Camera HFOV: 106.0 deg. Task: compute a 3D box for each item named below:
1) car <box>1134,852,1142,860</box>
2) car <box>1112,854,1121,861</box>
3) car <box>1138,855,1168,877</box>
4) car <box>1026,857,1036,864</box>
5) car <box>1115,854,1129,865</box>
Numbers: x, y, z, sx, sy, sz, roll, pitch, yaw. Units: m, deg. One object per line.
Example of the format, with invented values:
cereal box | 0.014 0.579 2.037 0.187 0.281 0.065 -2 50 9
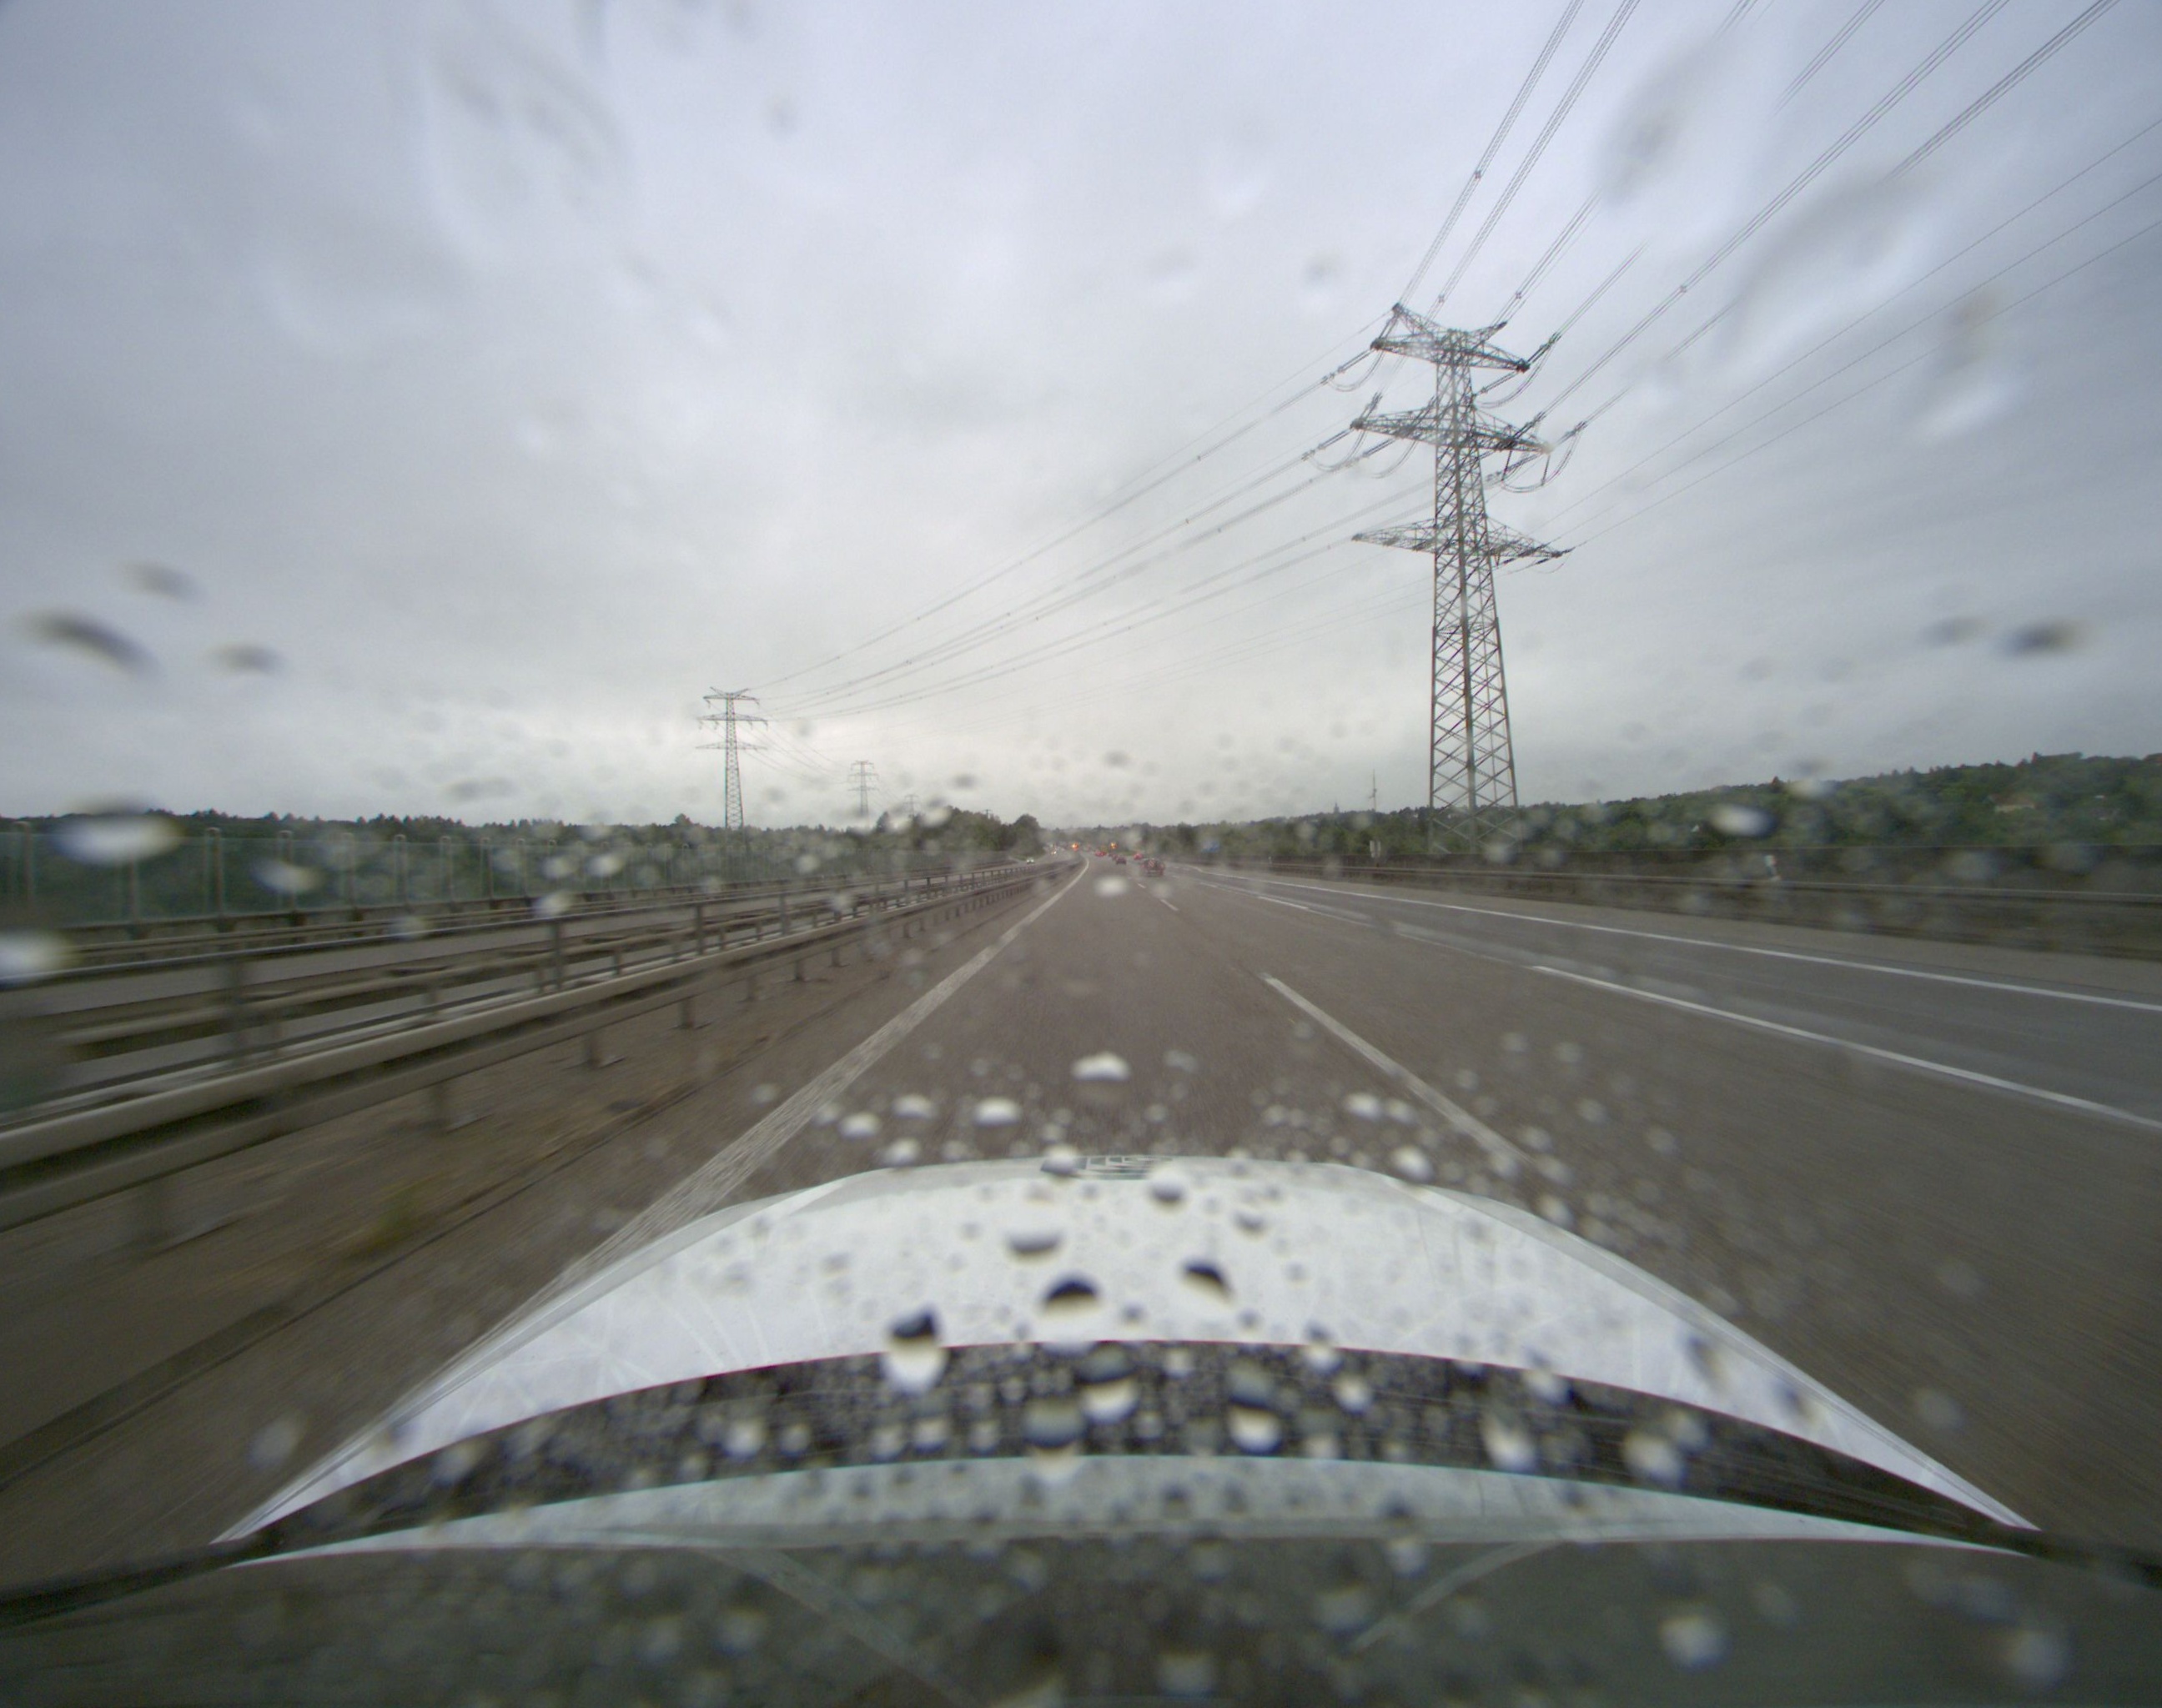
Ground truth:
car | 14.897 0.526 214.063 1.913 1.709 4.006 -3 0 5
car | 8.679 0.921 200.157 1.988 1.628 3.998 -3 1 -2
car | 5.721 0.913 65.498 2.050 1.671 5.524 -1 0 2
car | -12.876 1.722 209.298 1.987 1.629 4.714 -2 0 1
car | 7.193 0.884 143.655 1.988 1.760 3.998 -3 1 -2
